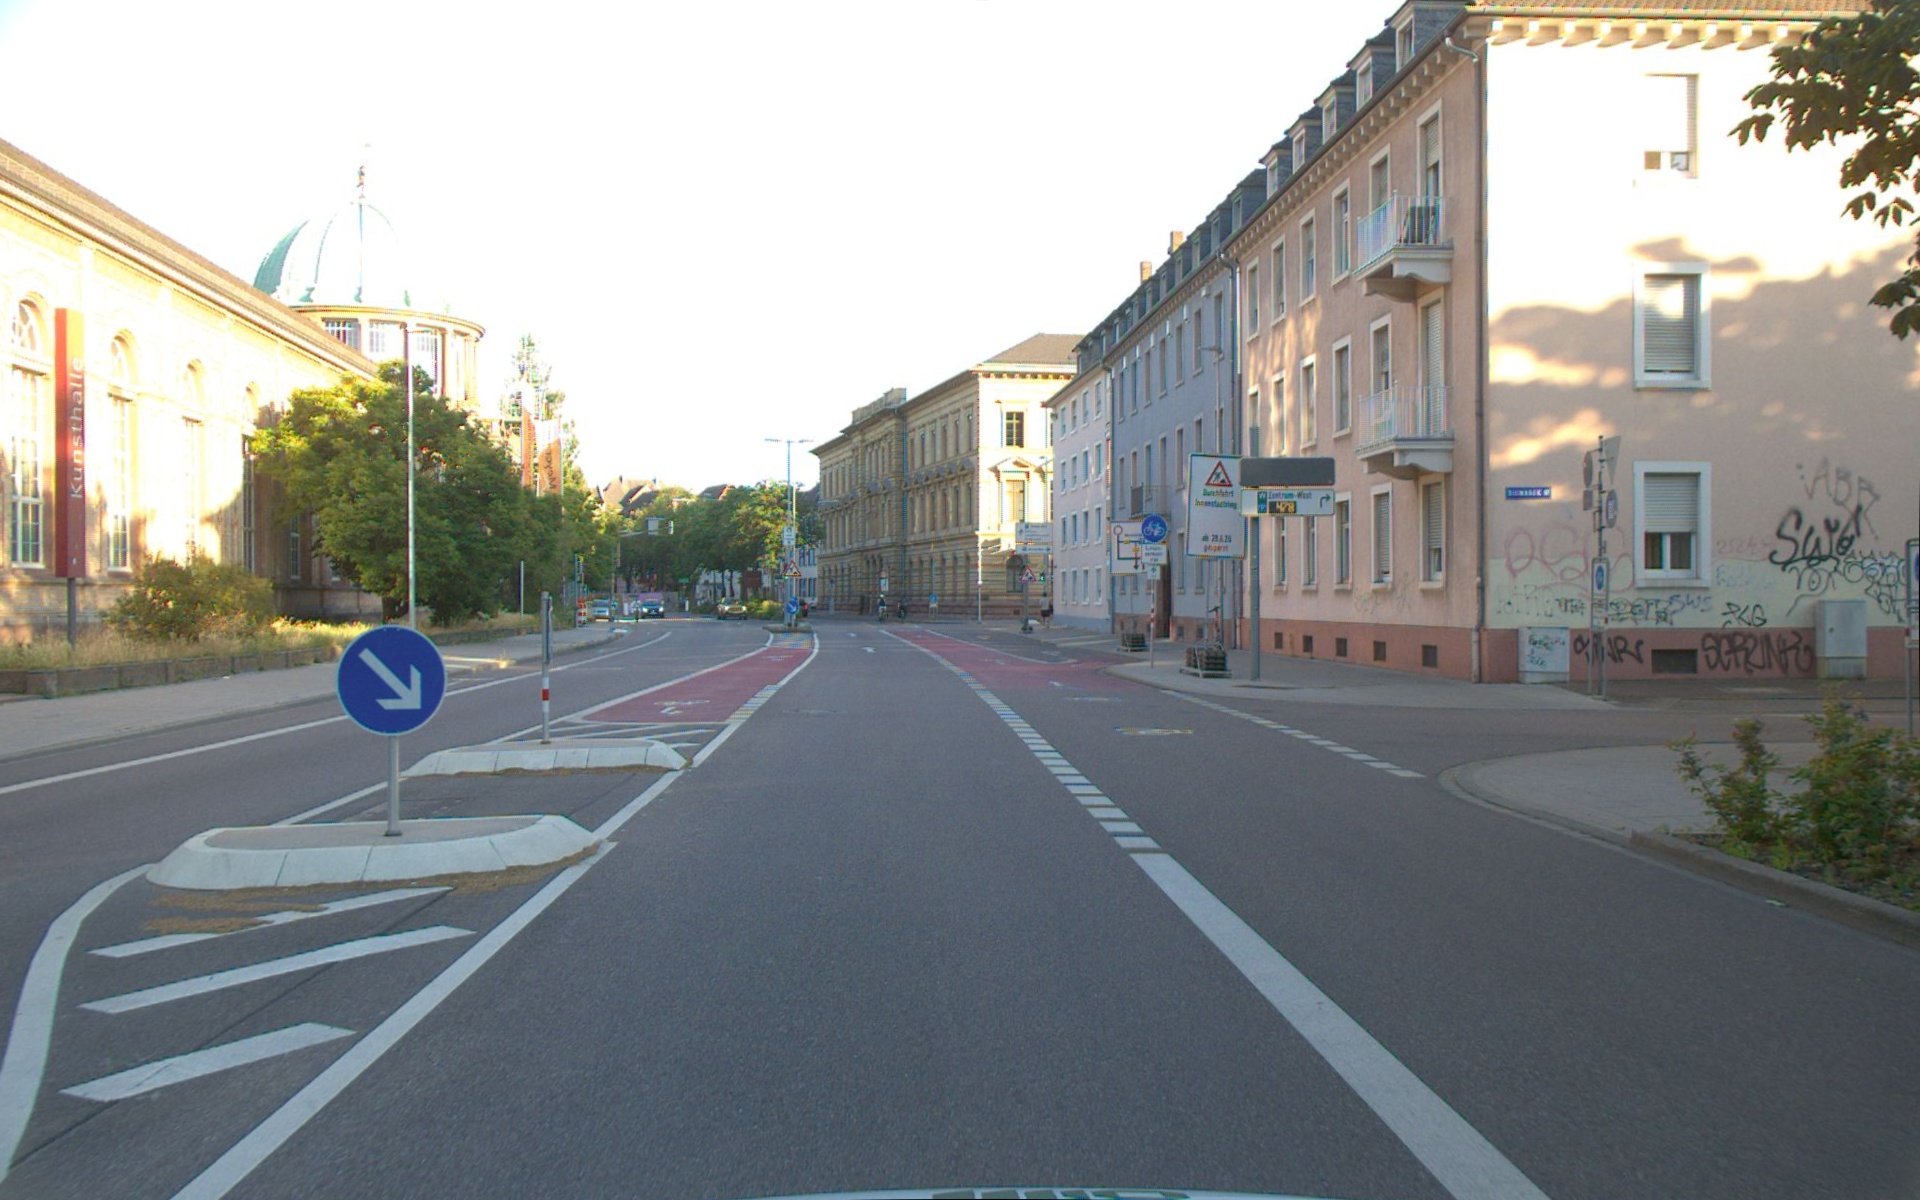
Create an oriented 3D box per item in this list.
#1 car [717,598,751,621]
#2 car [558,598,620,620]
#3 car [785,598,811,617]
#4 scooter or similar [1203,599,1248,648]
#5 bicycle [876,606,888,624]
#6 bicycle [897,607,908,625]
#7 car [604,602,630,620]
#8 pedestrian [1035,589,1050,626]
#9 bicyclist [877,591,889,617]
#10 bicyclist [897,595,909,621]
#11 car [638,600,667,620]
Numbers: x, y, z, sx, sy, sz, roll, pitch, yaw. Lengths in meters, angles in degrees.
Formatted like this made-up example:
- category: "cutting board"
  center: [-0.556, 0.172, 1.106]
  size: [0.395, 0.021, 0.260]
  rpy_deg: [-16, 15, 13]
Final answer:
- category: "car"
  center: [-15.840, 0.648, 115.700]
  size: [1.960, 1.613, 3.985]
  rpy_deg: [0, 0, -14]
- category: "car"
  center: [-25.522, 0.597, 113.781]
  size: [3.912, 1.445, 1.996]
  rpy_deg: [0, 0, 30]
- category: "car"
  center: [-13.419, 0.580, 137.056]
  size: [1.833, 1.536, 3.991]
  rpy_deg: [1, 0, -10]
- category: "scooter or similar"
  center: [7.563, 0.667, 47.289]
  size: [0.617, 1.360, 2.396]
  rpy_deg: [0, 0, -7]
- category: "bicycle"
  center: [-4.638, 0.872, 98.760]
  size: [0.639, 1.033, 2.197]
  rpy_deg: [2, 0, -2]
- category: "bicycle"
  center: [-3.432, 0.966, 98.764]
  size: [0.639, 1.033, 2.197]
  rpy_deg: [2, 0, -2]
- category: "car"
  center: [-30.720, 0.994, 148.047]
  size: [1.962, 1.613, 3.980]
  rpy_deg: [0, 0, -18]
- category: "pedestrian"
  center: [4.083, 0.369, 81.787]
  size: [0.746, 1.785, 0.845]
  rpy_deg: [0, 0, 3]
- category: "bicyclist"
  center: [-4.614, 0.234, 98.906]
  size: [0.639, 1.471, 0.879]
  rpy_deg: [2, 0, -2]
- category: "bicyclist"
  center: [-3.409, 0.494, 98.769]
  size: [0.639, 1.500, 0.940]
  rpy_deg: [2, 0, -2]
- category: "car"
  center: [-25.084, 0.807, 134.823]
  size: [1.961, 1.613, 3.983]
  rpy_deg: [0, 0, -16]
